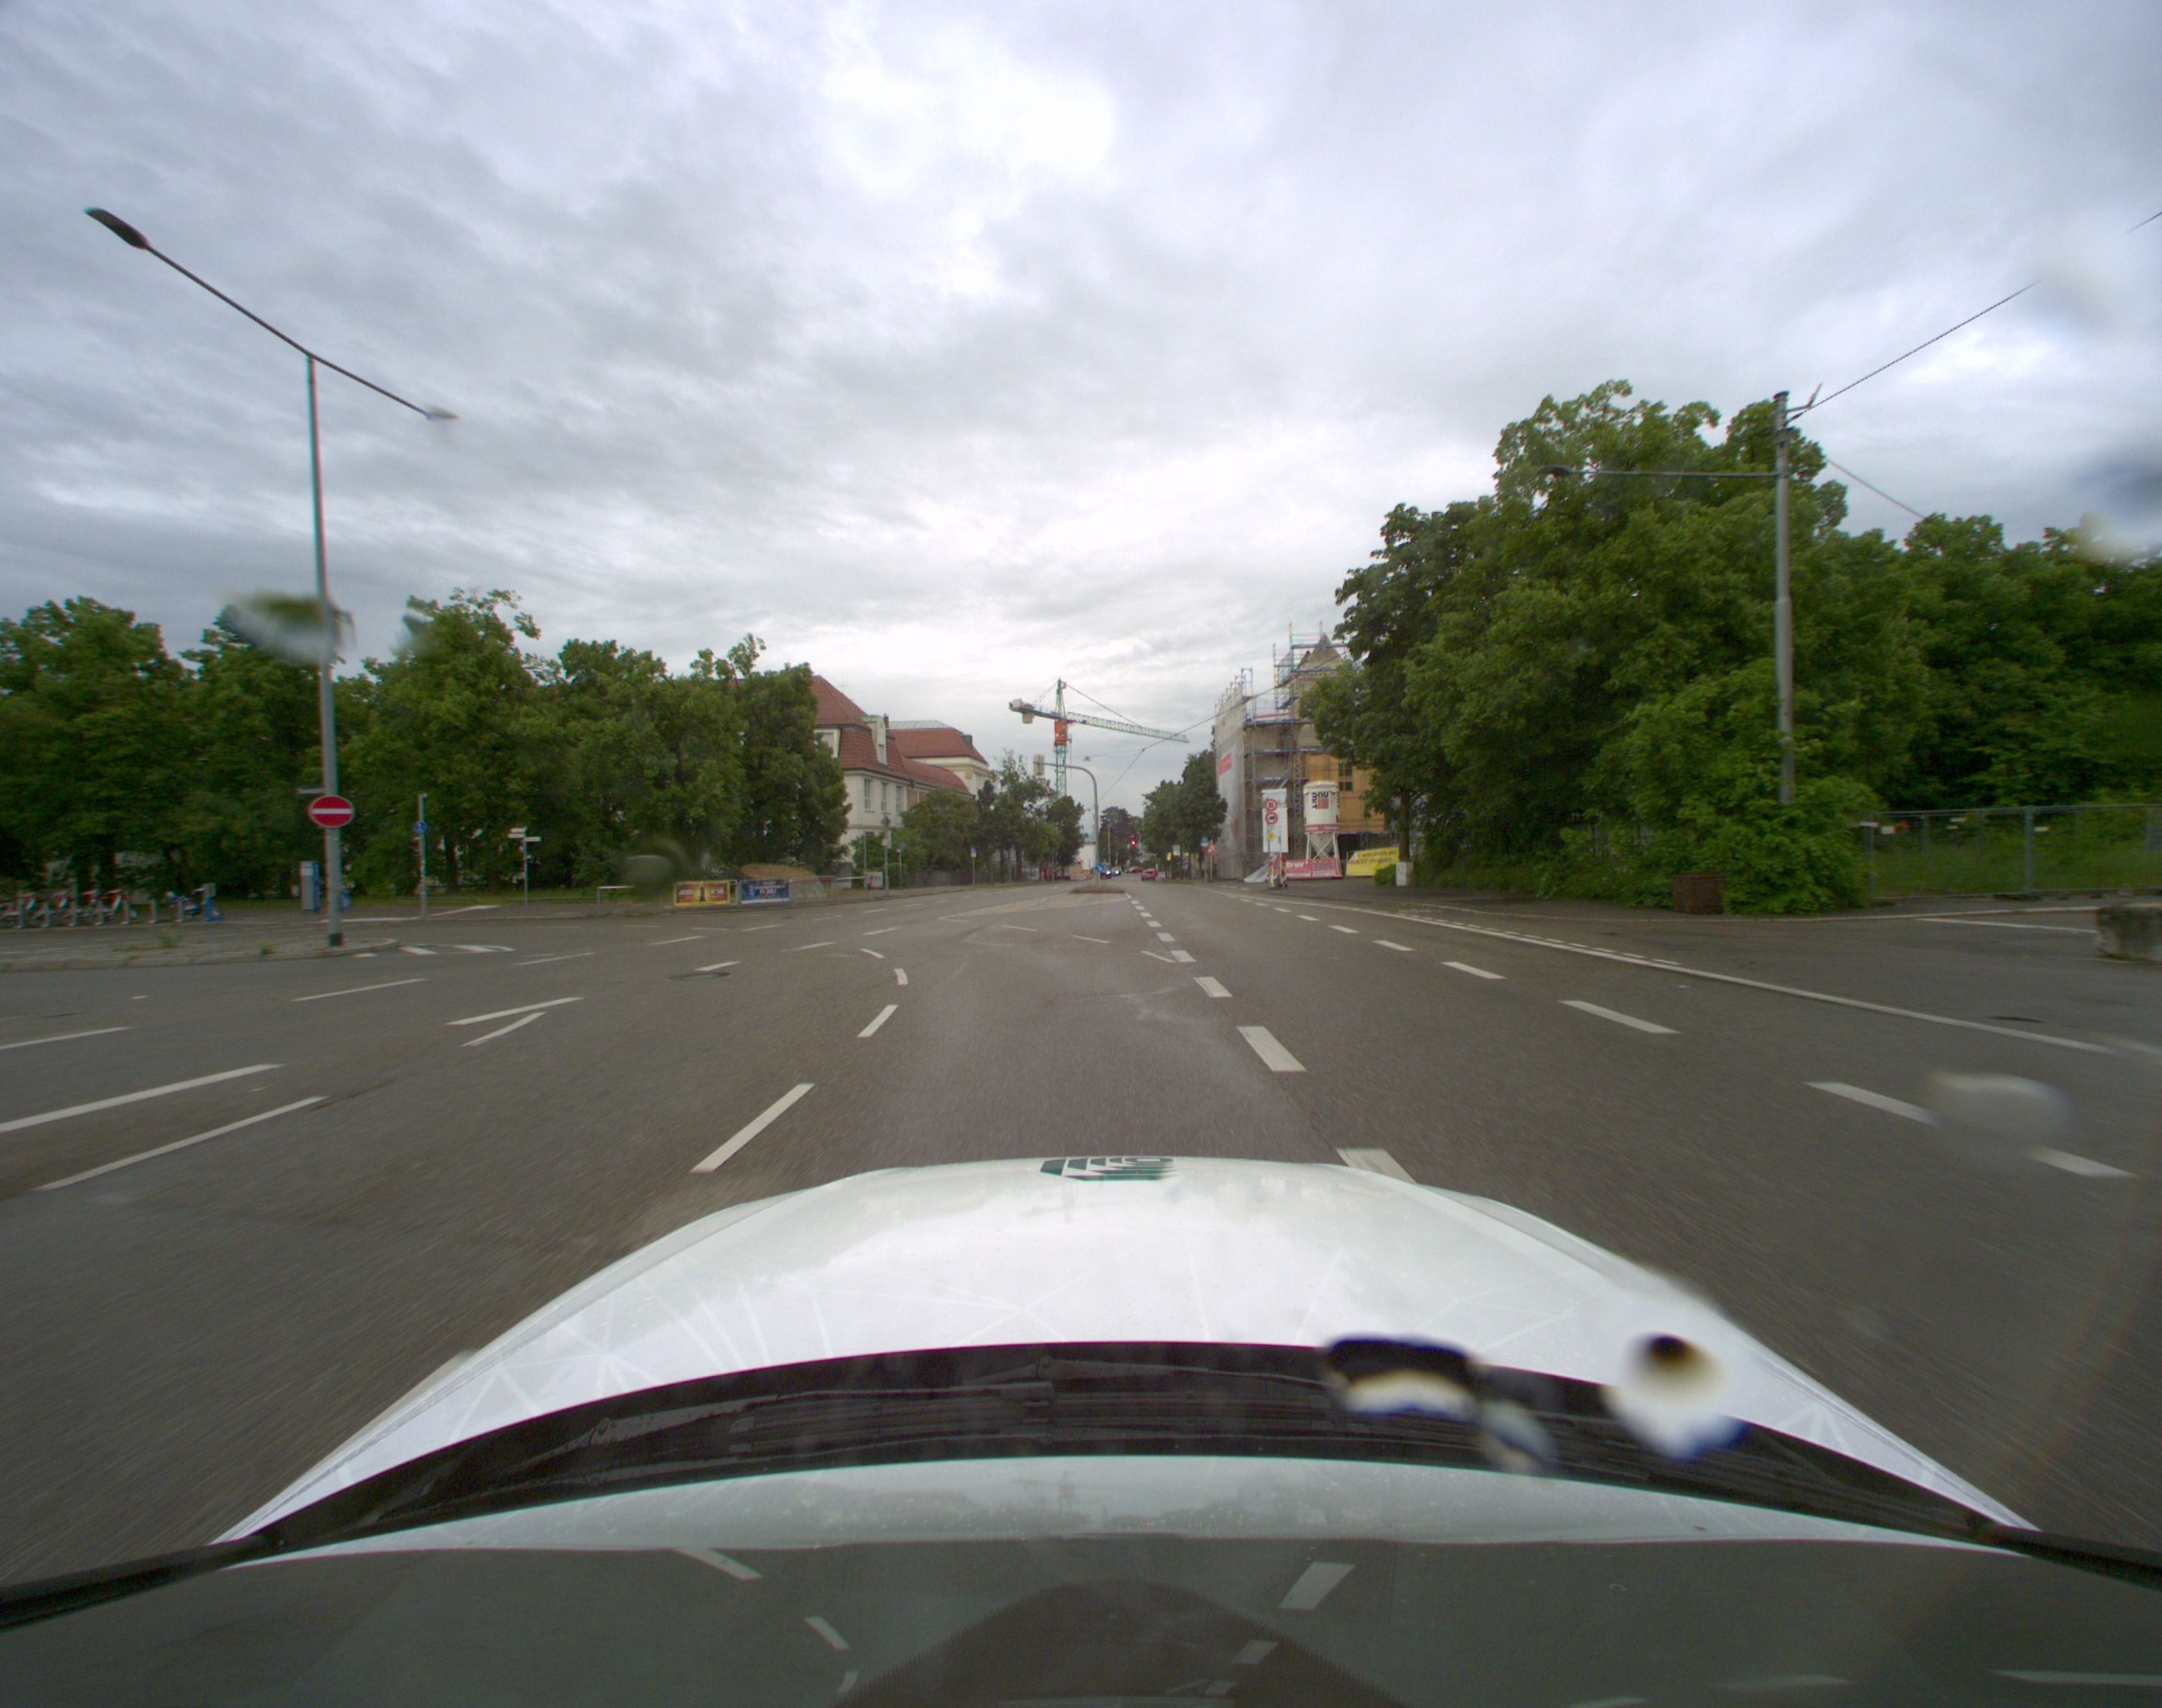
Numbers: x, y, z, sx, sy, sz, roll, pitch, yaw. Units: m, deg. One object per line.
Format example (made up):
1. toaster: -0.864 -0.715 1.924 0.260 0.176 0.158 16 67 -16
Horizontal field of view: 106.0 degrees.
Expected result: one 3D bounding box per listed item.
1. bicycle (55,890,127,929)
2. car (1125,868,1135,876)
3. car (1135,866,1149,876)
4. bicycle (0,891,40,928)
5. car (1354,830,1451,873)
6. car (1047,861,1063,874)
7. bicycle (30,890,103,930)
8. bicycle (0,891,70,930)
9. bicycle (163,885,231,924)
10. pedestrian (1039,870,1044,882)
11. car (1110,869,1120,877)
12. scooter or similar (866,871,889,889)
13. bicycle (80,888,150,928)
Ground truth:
1. bicycle: -33.752 1.868 27.792 0.554 1.131 1.489 -3 3 -4
2. car: 9.820 3.589 163.045 1.491 1.448 3.490 -1 0 9
3. car: 9.057 2.545 120.637 1.765 1.439 3.881 -1 0 9
4. bicycle: -36.633 1.911 27.658 0.554 1.131 1.489 -3 3 -4
5. car: 15.997 -0.111 40.644 2.011 2.013 3.951 -1 0 -43
6. car: -4.189 2.136 131.791 1.982 2.013 4.010 -1 0 9
7. bicycle: -34.517 1.896 27.746 0.554 1.131 1.489 -3 3 -4
8. bicycle: -35.665 1.904 27.731 0.554 1.131 1.489 -3 3 -4
9. bicycle: -30.292 1.716 27.945 0.554 1.131 1.599 -3 3 -3
10. pedestrian: -4.753 2.683 98.344 0.541 1.441 0.447 -1 0 -15
11. car: 6.315 3.479 150.881 1.566 1.461 3.546 -1 0 9
12. scooter or similar: -11.284 1.440 45.147 0.532 0.954 1.096 -2 -3 43
13. bicycle: -32.946 1.828 27.803 0.554 1.131 1.489 -3 3 -4
